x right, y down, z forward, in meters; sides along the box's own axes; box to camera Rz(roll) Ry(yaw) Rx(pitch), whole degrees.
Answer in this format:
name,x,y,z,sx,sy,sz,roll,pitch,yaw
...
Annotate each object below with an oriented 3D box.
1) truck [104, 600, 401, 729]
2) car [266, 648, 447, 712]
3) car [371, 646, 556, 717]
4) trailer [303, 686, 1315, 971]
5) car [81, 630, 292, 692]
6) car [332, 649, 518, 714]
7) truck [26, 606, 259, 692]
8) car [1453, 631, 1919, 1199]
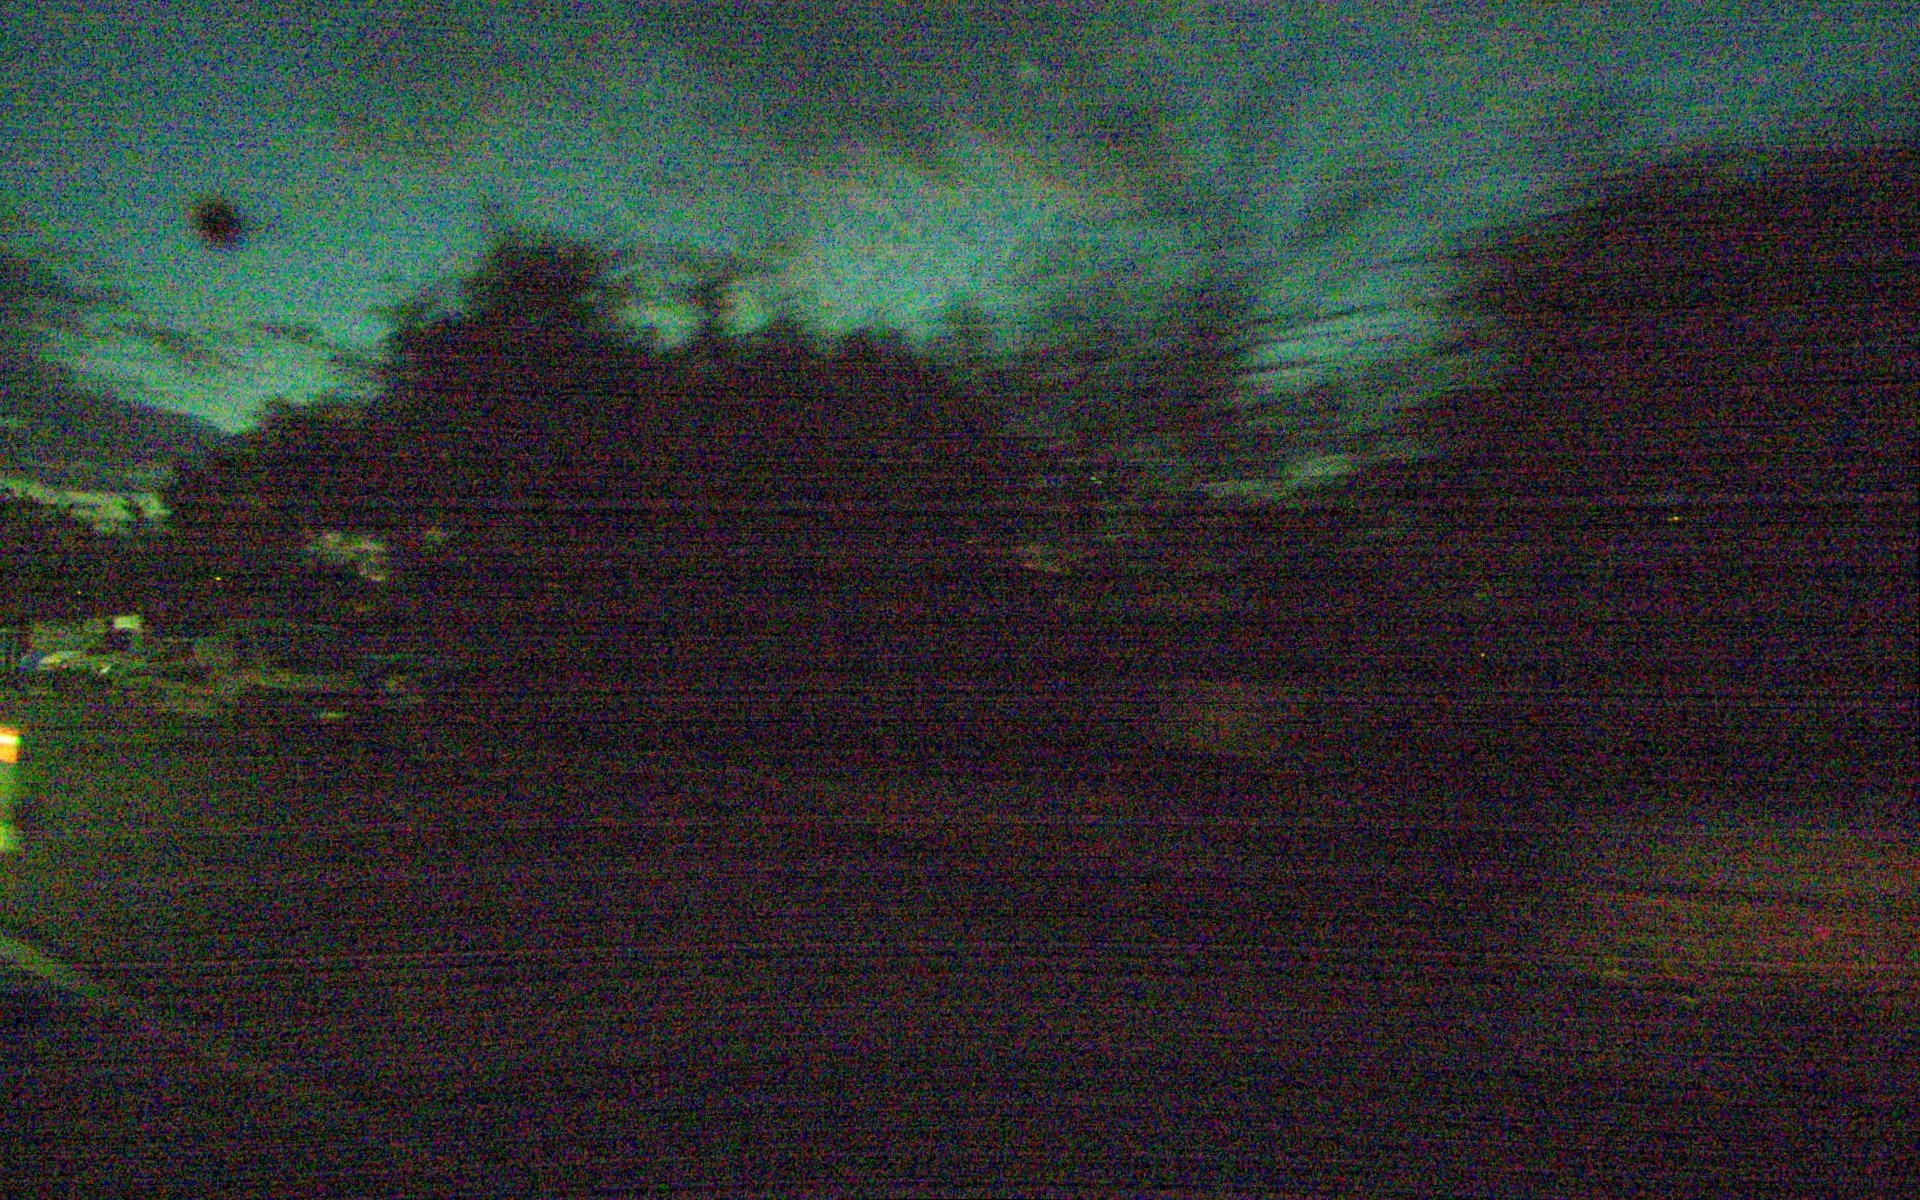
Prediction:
name,x,y,z,sx,sy,sz,roll,pitch,yaw
truck,-15.115,1.311,21.166,7.634,2.311,2.374,-1,-4,33
car,-16.377,2.154,27.354,1.684,1.615,3.852,-1,-4,31
car,-12.420,2.023,25.278,1.684,1.624,3.852,-1,-4,31
trailer,-2.181,1.397,8.345,9.487,0.978,2.170,-1,-5,35
car,-25.016,1.987,32.595,1.963,1.858,5.062,-1,-4,36
car,-13.976,2.111,26.343,1.876,1.579,3.848,-1,-4,35
truck,-27.332,1.698,33.720,2.437,2.631,5.524,-1,-4,32
car,3.606,0.916,2.684,3.943,1.571,1.933,-1,-4,32
